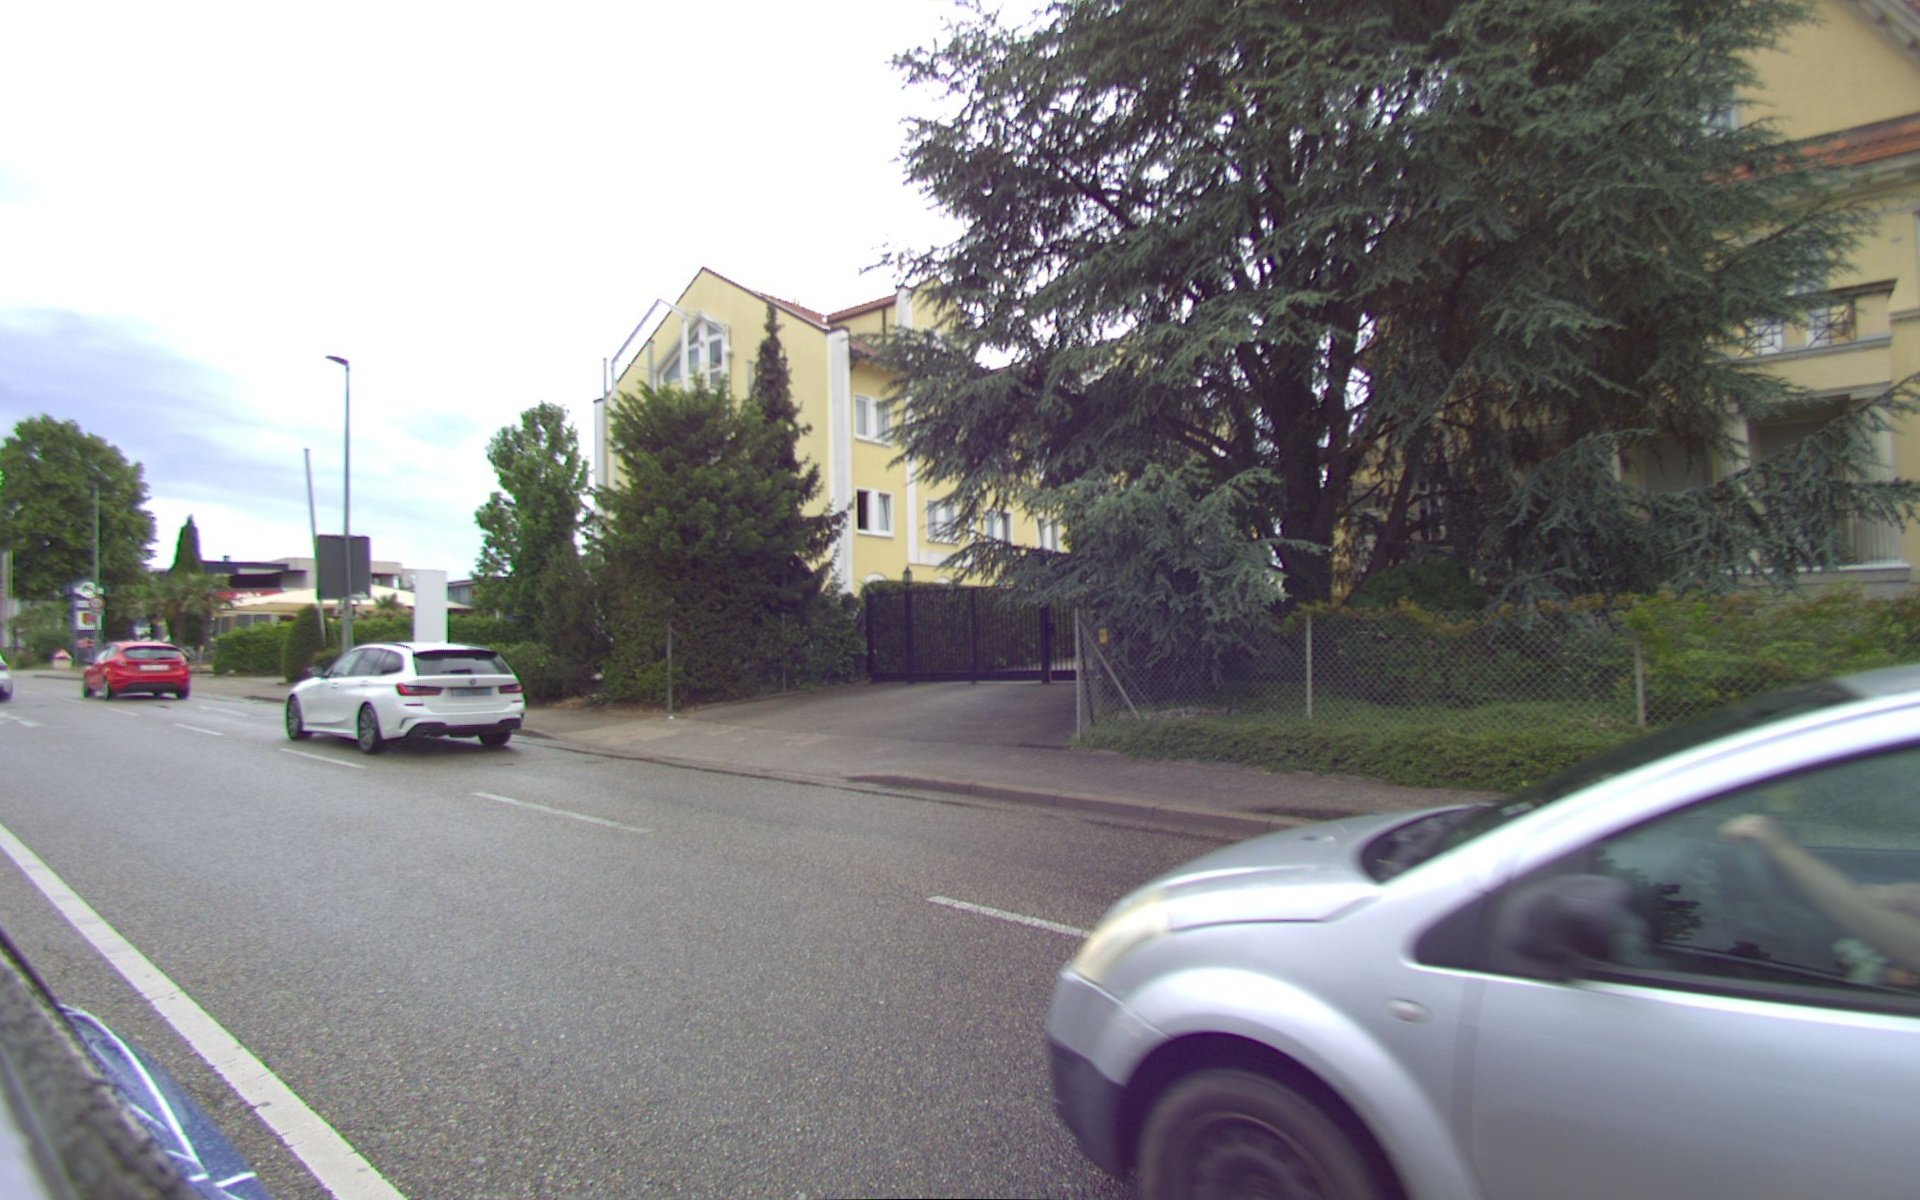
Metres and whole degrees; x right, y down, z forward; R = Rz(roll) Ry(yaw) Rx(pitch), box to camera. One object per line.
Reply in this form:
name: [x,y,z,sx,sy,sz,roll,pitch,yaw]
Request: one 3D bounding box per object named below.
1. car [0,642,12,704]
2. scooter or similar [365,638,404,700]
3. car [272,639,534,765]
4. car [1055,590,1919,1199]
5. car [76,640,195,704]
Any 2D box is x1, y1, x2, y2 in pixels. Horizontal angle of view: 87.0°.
car: [-24.131,1.724,24.116,4.269,1.392,1.797,-1,-1,40]
scooter or similar: [-13.754,1.624,24.170,0.498,1.416,1.884,2,-2,-39]
car: [-7.935,1.301,14.247,4.429,1.471,1.767,-2,-3,40]
car: [2.069,0.748,1.733,3.516,1.471,1.622,-1,-3,40]
car: [-21.075,1.778,25.824,3.778,1.487,1.678,-1,-3,40]
